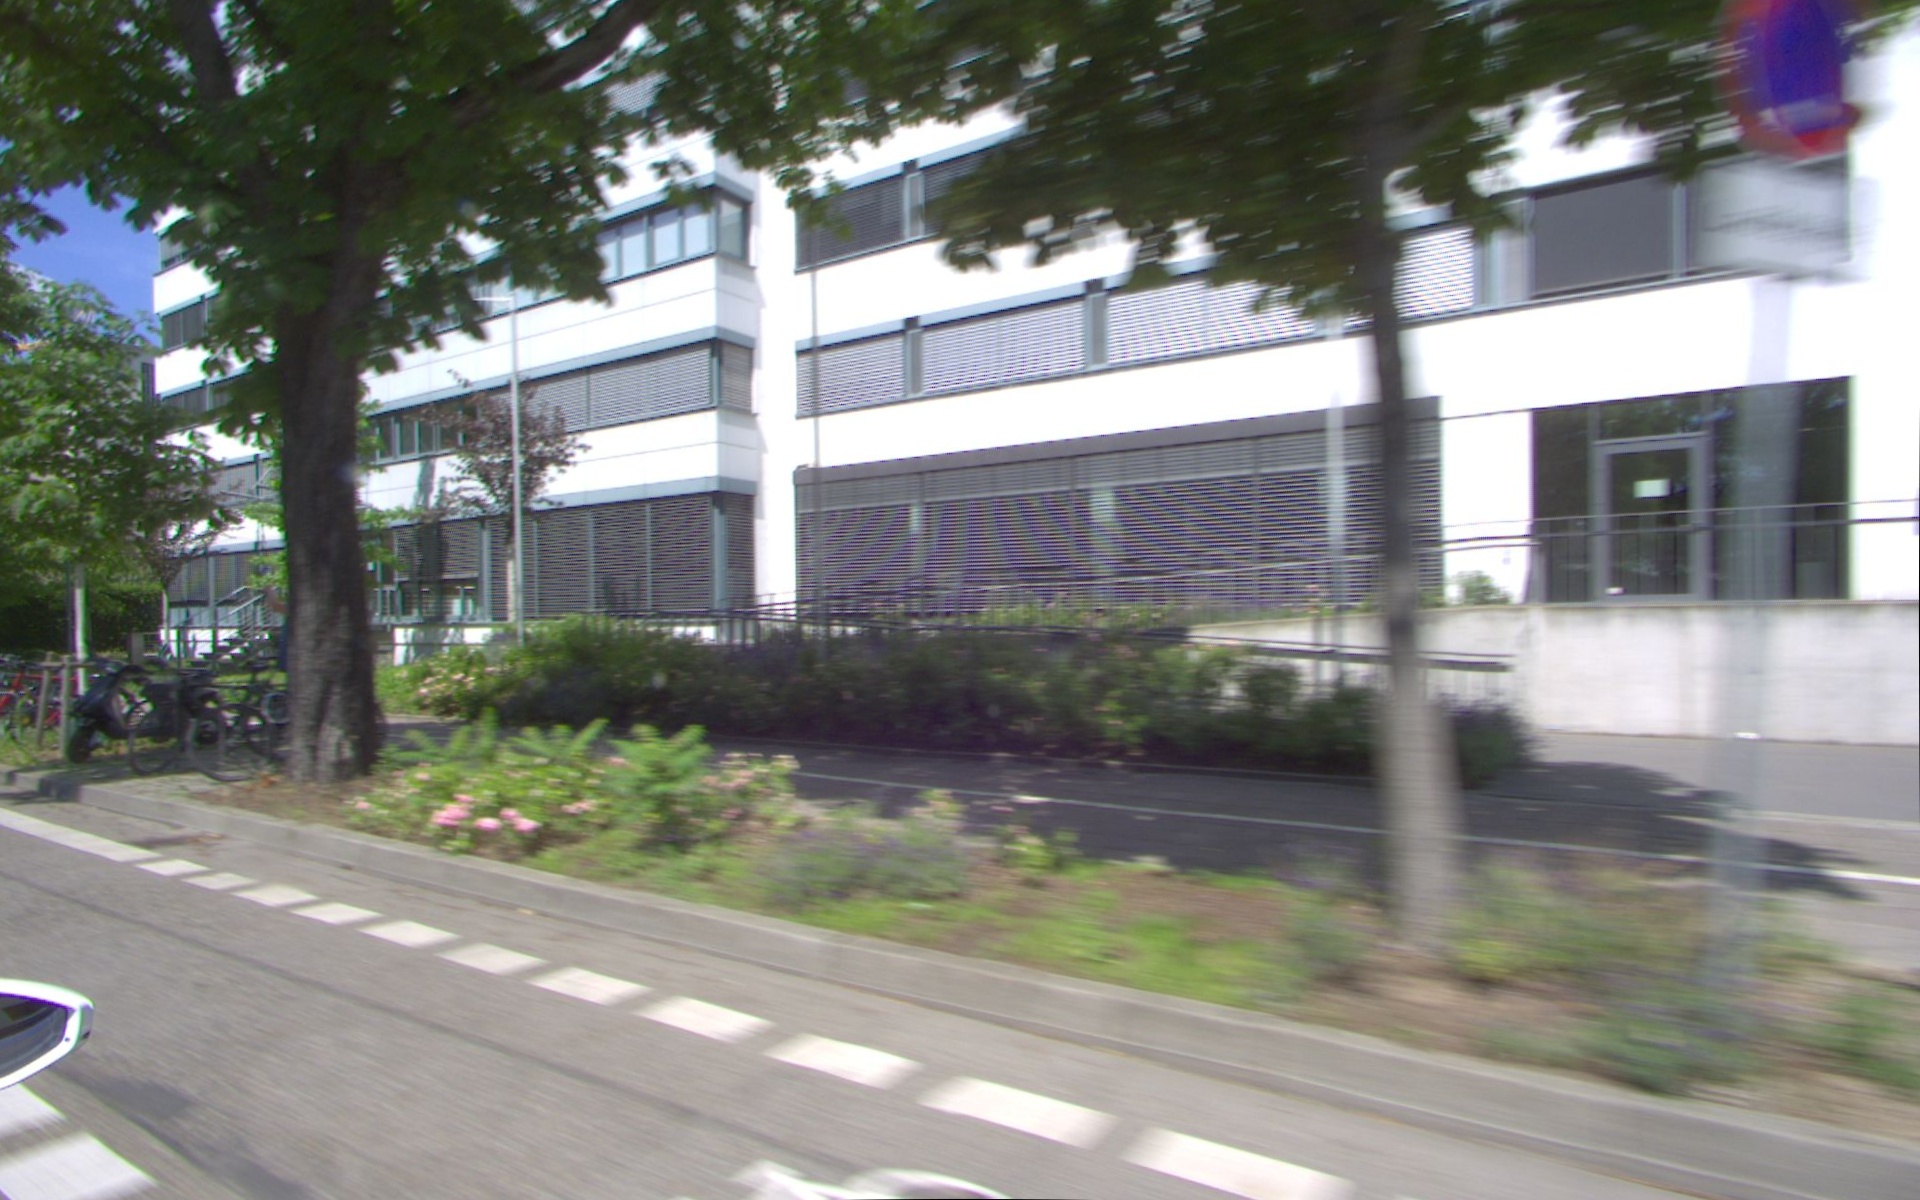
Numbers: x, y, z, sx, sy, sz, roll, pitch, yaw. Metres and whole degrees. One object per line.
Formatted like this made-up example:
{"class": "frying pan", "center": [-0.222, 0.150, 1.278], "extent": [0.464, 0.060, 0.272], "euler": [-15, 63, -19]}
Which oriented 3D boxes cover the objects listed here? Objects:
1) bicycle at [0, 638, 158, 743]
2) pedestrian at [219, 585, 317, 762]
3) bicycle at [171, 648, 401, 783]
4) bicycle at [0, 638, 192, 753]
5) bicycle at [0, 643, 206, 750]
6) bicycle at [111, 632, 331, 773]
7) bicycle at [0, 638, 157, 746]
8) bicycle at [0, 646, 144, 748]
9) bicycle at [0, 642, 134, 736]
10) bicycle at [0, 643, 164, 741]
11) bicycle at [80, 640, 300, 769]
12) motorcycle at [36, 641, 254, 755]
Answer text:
{"class": "bicycle", "center": [-10.914, 1.061, 12.180], "extent": [0.522, 1.181, 1.750], "euler": [-1, -1, 29]}
{"class": "pedestrian", "center": [-7.091, 0.725, 10.290], "extent": [0.573, 1.737, 0.796], "euler": [0, 0, -15]}
{"class": "bicycle", "center": [-6.410, 1.049, 9.629], "extent": [0.524, 1.117, 1.786], "euler": [0, 0, 30]}
{"class": "bicycle", "center": [-9.917, 1.044, 11.452], "extent": [0.522, 1.181, 1.750], "euler": [-1, -1, 29]}
{"class": "bicycle", "center": [-11.330, 1.206, 12.902], "extent": [0.639, 1.225, 2.502], "euler": [-1, -1, 36]}
{"class": "bicycle", "center": [-7.435, 0.975, 10.166], "extent": [0.522, 1.287, 1.750], "euler": [0, -1, 29]}
{"class": "bicycle", "center": [-10.592, 1.047, 11.761], "extent": [0.522, 1.181, 1.750], "euler": [-1, -1, 29]}
{"class": "bicycle", "center": [-12.011, 1.244, 13.088], "extent": [0.653, 1.225, 1.990], "euler": [-1, 0, 36]}
{"class": "bicycle", "center": [-13.166, 1.232, 13.911], "extent": [0.732, 1.225, 2.502], "euler": [-1, -1, 36]}
{"class": "bicycle", "center": [-12.440, 1.232, 13.586], "extent": [0.614, 1.225, 2.502], "euler": [-1, -1, 36]}
{"class": "bicycle", "center": [-7.896, 1.026, 10.363], "extent": [0.522, 1.181, 1.750], "euler": [-1, -1, 29]}
{"class": "motorcycle", "center": [-9.166, 1.056, 11.342], "extent": [0.590, 1.125, 1.820], "euler": [0, 0, 32]}
